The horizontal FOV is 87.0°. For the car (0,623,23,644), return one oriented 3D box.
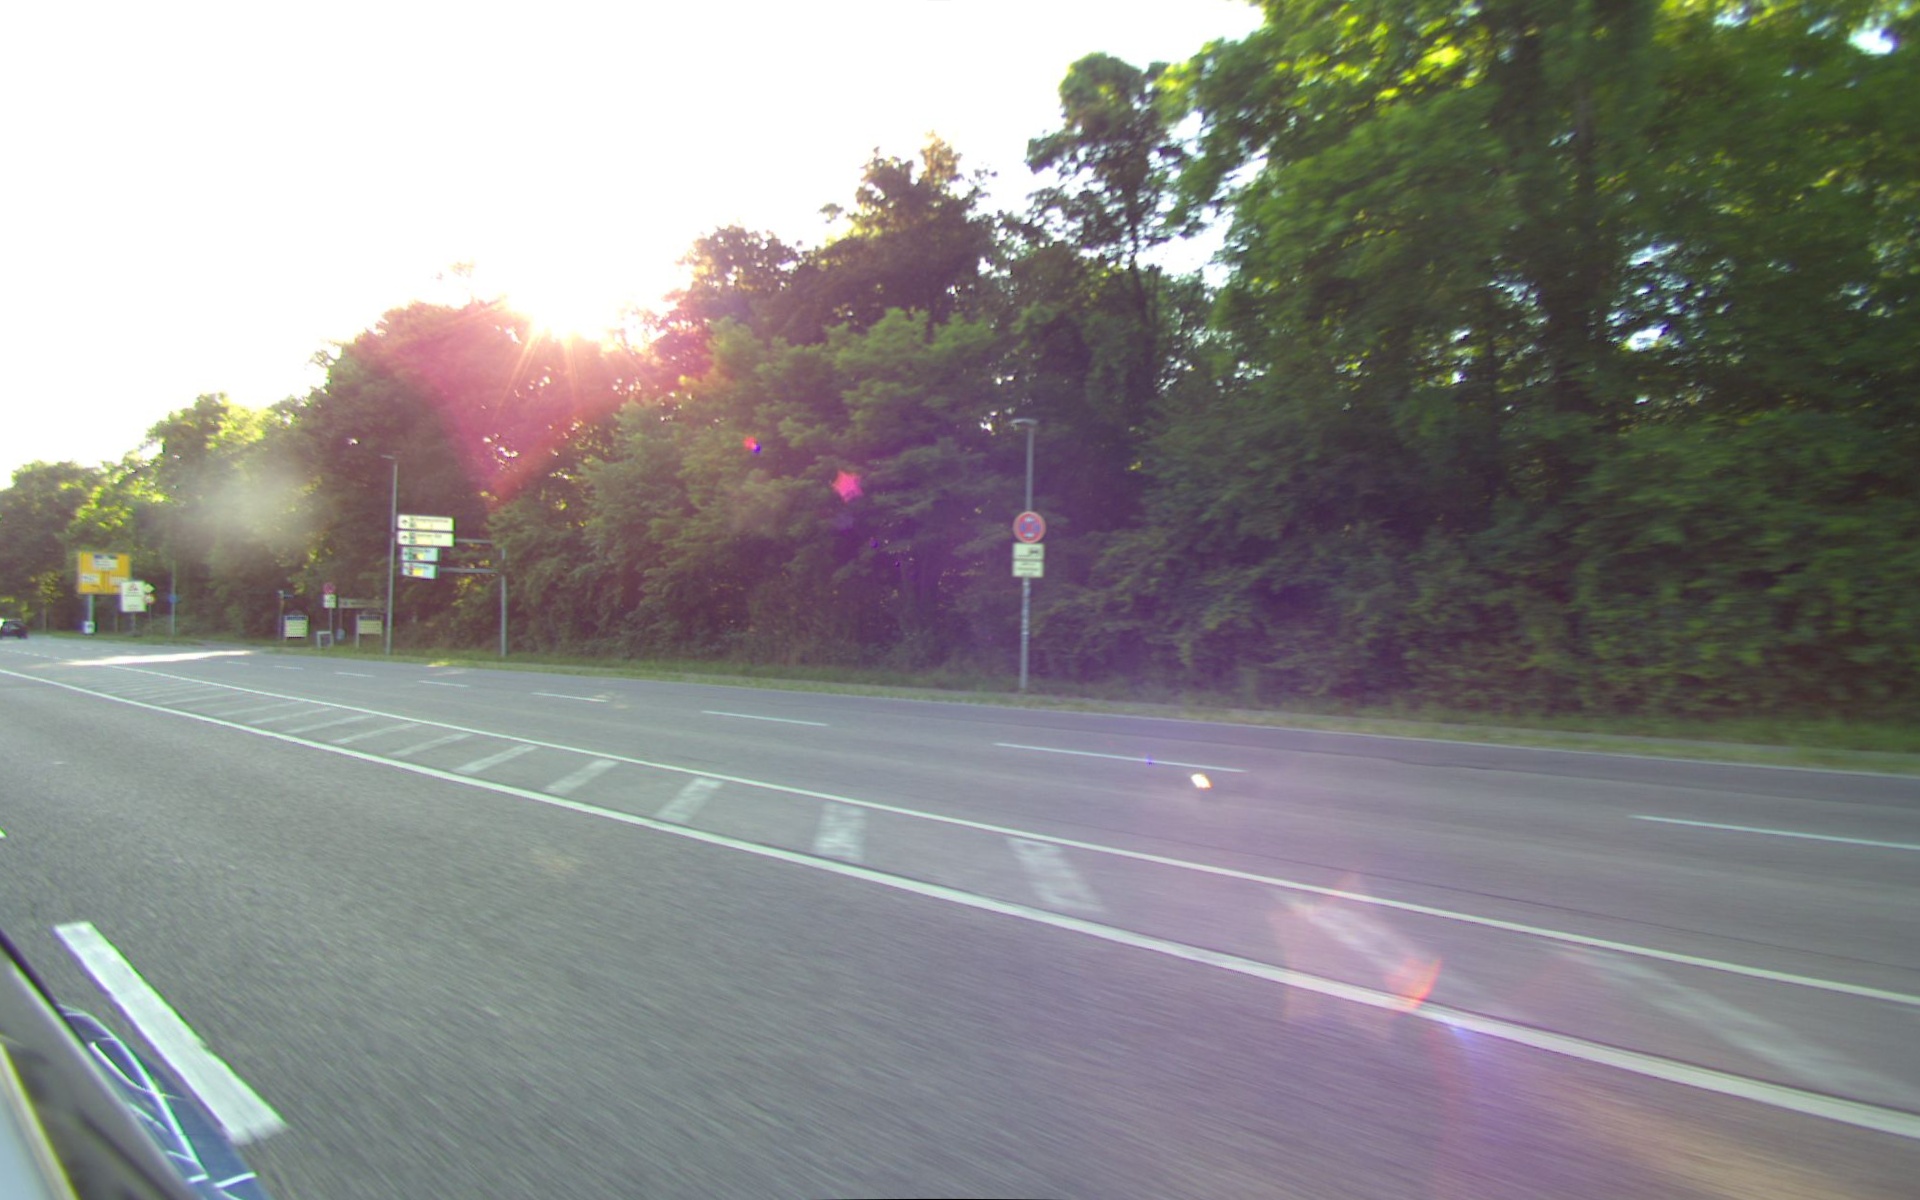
[{"bbox_3d":[-77.647,2.725,82.173,4.348,1.601,1.806,-1,-1,41],"label":"car"}]
